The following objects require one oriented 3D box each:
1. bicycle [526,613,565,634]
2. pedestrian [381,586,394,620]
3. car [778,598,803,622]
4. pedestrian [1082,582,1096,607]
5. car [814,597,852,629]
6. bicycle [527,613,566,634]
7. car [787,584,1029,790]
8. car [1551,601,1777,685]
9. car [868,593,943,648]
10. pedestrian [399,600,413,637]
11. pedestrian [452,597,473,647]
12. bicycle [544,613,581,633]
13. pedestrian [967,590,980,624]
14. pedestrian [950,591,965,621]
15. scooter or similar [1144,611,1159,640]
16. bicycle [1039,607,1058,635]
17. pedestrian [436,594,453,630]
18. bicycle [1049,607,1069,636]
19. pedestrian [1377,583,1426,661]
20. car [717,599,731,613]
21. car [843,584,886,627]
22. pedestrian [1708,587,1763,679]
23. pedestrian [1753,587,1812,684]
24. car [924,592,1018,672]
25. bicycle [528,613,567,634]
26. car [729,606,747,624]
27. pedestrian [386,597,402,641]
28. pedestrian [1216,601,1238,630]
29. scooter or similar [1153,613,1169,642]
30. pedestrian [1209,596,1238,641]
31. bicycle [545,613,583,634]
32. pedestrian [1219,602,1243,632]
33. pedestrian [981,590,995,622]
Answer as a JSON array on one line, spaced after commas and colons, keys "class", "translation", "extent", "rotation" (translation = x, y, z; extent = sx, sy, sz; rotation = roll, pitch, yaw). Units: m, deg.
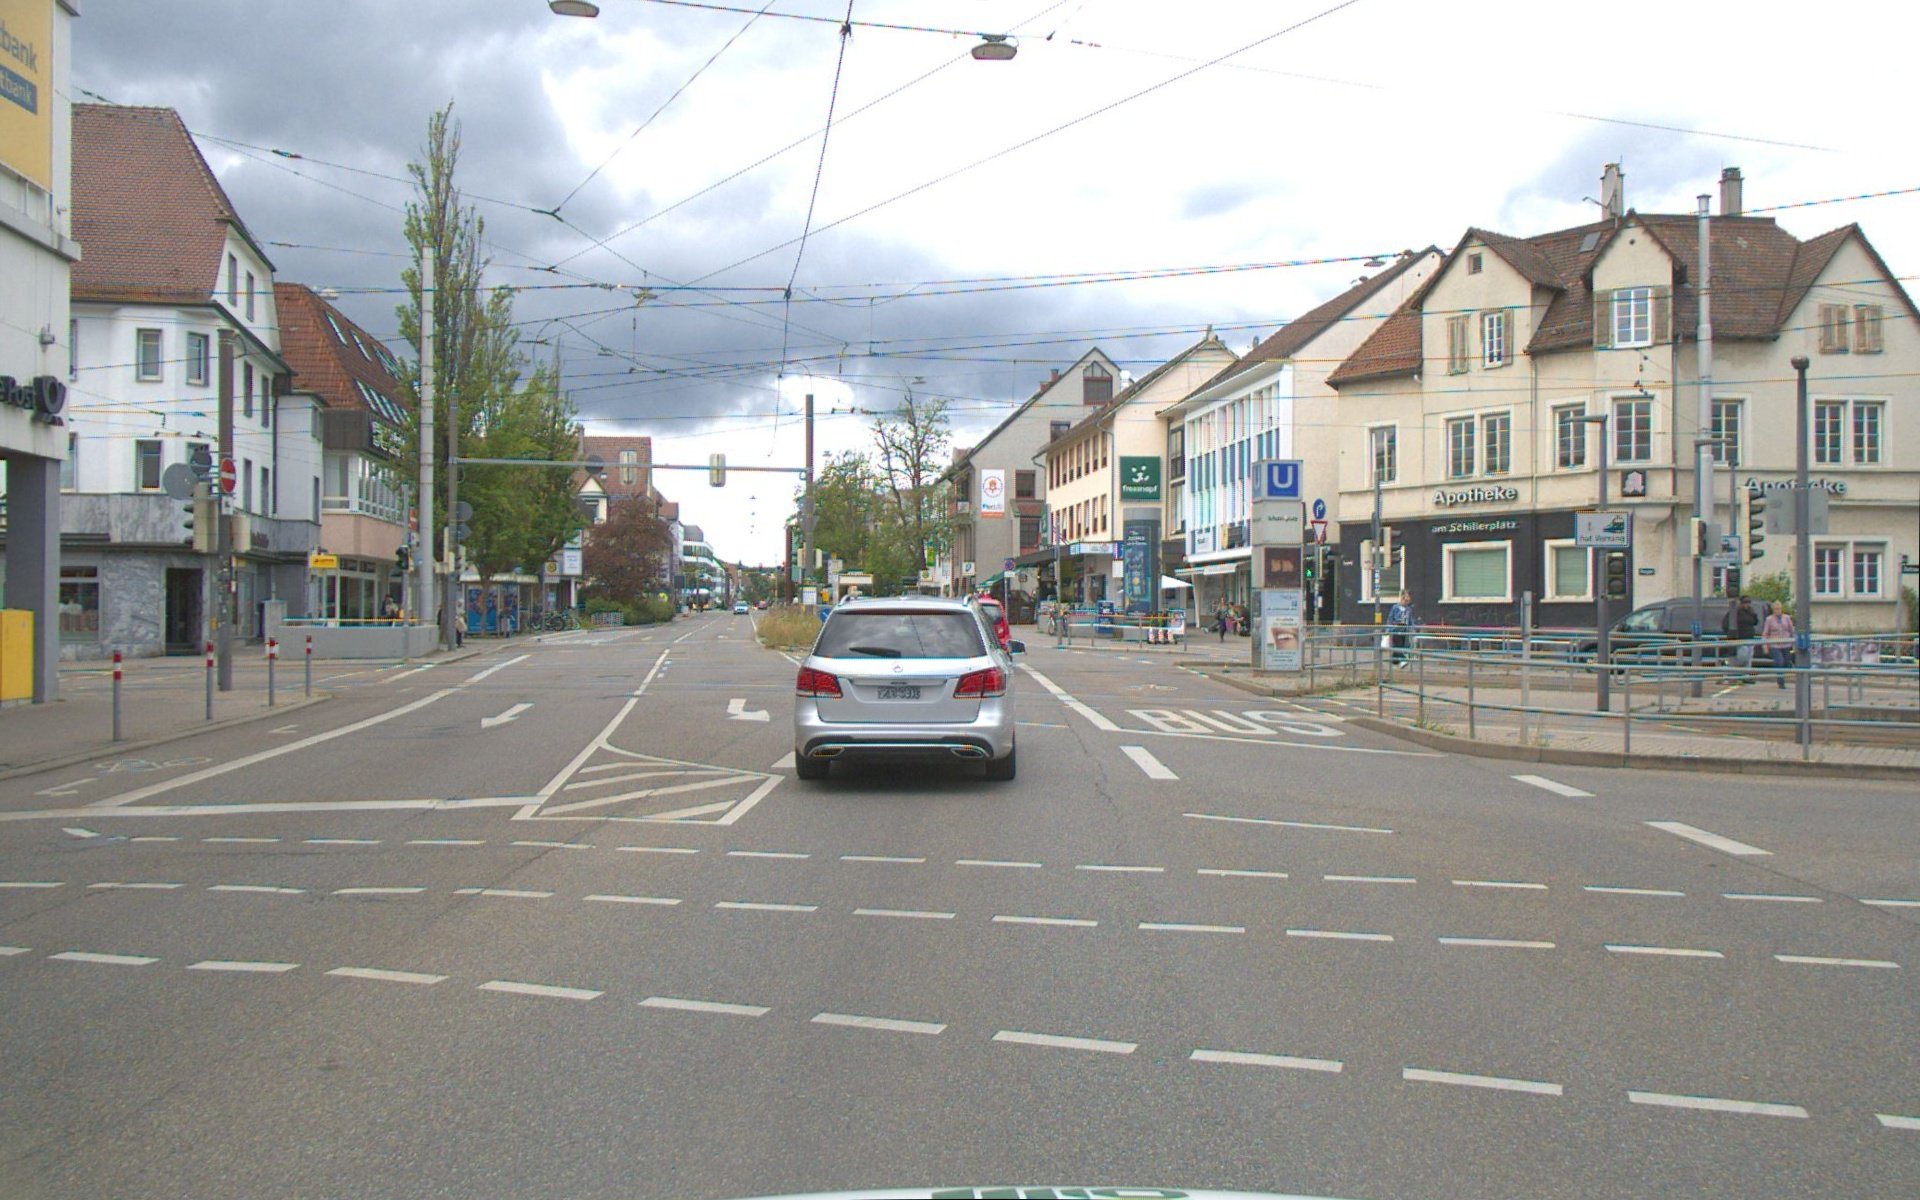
[{"class": "bicycle", "translation": [-21.521, 1.219, 85.867], "extent": [1.907, 1.047, 0.528], "rotation": [1, -1, -17]}, {"class": "pedestrian", "translation": [-27.093, 0.141, 78.239], "extent": [0.569, 1.634, 0.640], "rotation": [0, 0, -20]}, {"class": "car", "translation": [-14.666, 0.864, 142.868], "extent": [1.957, 2.049, 3.992], "rotation": [0, 0, -9]}, {"class": "pedestrian", "translation": [6.422, -0.280, 82.421], "extent": [0.523, 1.240, 0.578], "rotation": [1, -1, -10]}, {"class": "car", "translation": [-7.290, 0.732, 94.994], "extent": [1.956, 1.780, 3.993], "rotation": [0, 0, -8]}, {"class": "bicycle", "translation": [-21.321, 1.219, 85.297], "extent": [1.907, 1.047, 0.528], "rotation": [1, -1, -17]}, {"class": "car", "translation": [-0.338, 0.652, 14.507], "extent": [1.807, 1.534, 4.172], "rotation": [0, 0, 1]}, {"class": "car", "translation": [16.597, 0.981, 39.098], "extent": [4.604, 1.853, 1.856], "rotation": [0, -1, 37]}, {"class": "car", "translation": [-1.641, 0.565, 48.375], "extent": [1.702, 1.534, 3.991], "rotation": [0, 0, -9]}, {"class": "pedestrian", "translation": [-24.373, 0.817, 72.821], "extent": [0.569, 1.634, 0.640], "rotation": [0, 0, -20]}, {"class": "pedestrian", "translation": [-16.362, 0.718, 54.407], "extent": [0.624, 1.634, 0.700], "rotation": [0, 0, -20]}, {"class": "bicycle", "translation": [-21.309, 1.241, 88.648], "extent": [1.907, 1.047, 0.528], "rotation": [1, -1, -17]}, {"class": "pedestrian", "translation": [0.672, 0.350, 82.639], "extent": [0.566, 1.695, 0.651], "rotation": [1, -1, -1]}, {"class": "pedestrian", "translation": [-0.130, 0.302, 82.393], "extent": [0.568, 1.460, 0.649], "rotation": [1, -1, -13]}, {"class": "scooter or similar", "translation": [6.897, 0.912, 59.589], "extent": [0.266, 1.019, 1.026], "rotation": [0, 0, -11]}, {"class": "bicycle", "translation": [3.550, 0.825, 66.453], "extent": [0.439, 1.110, 2.146], "rotation": [0, 0, -6]}, {"class": "pedestrian", "translation": [-23.860, 0.547, 76.555], "extent": [0.694, 1.634, 0.574], "rotation": [0, 0, -28]}, {"class": "bicycle", "translation": [3.987, 0.863, 66.511], "extent": [0.439, 1.127, 2.146], "rotation": [0, 0, -6]}, {"class": "pedestrian", "translation": [9.992, 0.489, 37.421], "extent": [0.826, 1.748, 0.725], "rotation": [0, 0, -11]}, {"class": "car", "translation": [-36.260, 0.892, 254.192], "extent": [1.957, 2.049, 3.990], "rotation": [1, 0, -10]}, {"class": "car", "translation": [-4.207, 0.238, 72.564], "extent": [1.701, 1.790, 3.995], "rotation": [0, 0, -6]}, {"class": "pedestrian", "translation": [14.841, 0.625, 31.656], "extent": [0.689, 1.748, 0.648], "rotation": [0, 0, -10]}, {"class": "pedestrian", "translation": [15.097, 0.640, 30.373], "extent": [0.770, 1.748, 0.650], "rotation": [1, 0, 11]}, {"class": "car", "translation": [0.289, 0.623, 33.890], "extent": [1.698, 1.534, 4.002], "rotation": [0, 0, 4]}, {"class": "bicycle", "translation": [-21.105, 1.218, 84.661], "extent": [1.907, 1.047, 0.528], "rotation": [1, -1, -17]}, {"class": "car", "translation": [-25.855, 1.730, 192.724], "extent": [1.957, 2.049, 3.992], "rotation": [0, 0, -9]}, {"class": "pedestrian", "translation": [-24.449, 0.807, 71.491], "extent": [0.633, 1.868, 0.576], "rotation": [0, 0, -21]}, {"class": "pedestrian", "translation": [10.956, 0.643, 67.784], "extent": [0.723, 1.184, 0.641], "rotation": [1, -1, -10]}, {"class": "scooter or similar", "translation": [7.248, 0.990, 59.674], "extent": [0.266, 1.019, 1.026], "rotation": [0, 0, -11]}, {"class": "pedestrian", "translation": [9.647, 0.663, 60.516], "extent": [0.633, 1.619, 0.890], "rotation": [1, -1, -27]}, {"class": "bicycle", "translation": [-20.988, 1.240, 87.710], "extent": [1.907, 1.047, 0.528], "rotation": [1, -1, -17]}, {"class": "pedestrian", "translation": [10.667, 0.660, 65.132], "extent": [0.723, 1.184, 0.641], "rotation": [1, -1, -10]}, {"class": "pedestrian", "translation": [1.335, 0.297, 79.151], "extent": [0.567, 1.495, 0.649], "rotation": [1, -1, -11]}]
